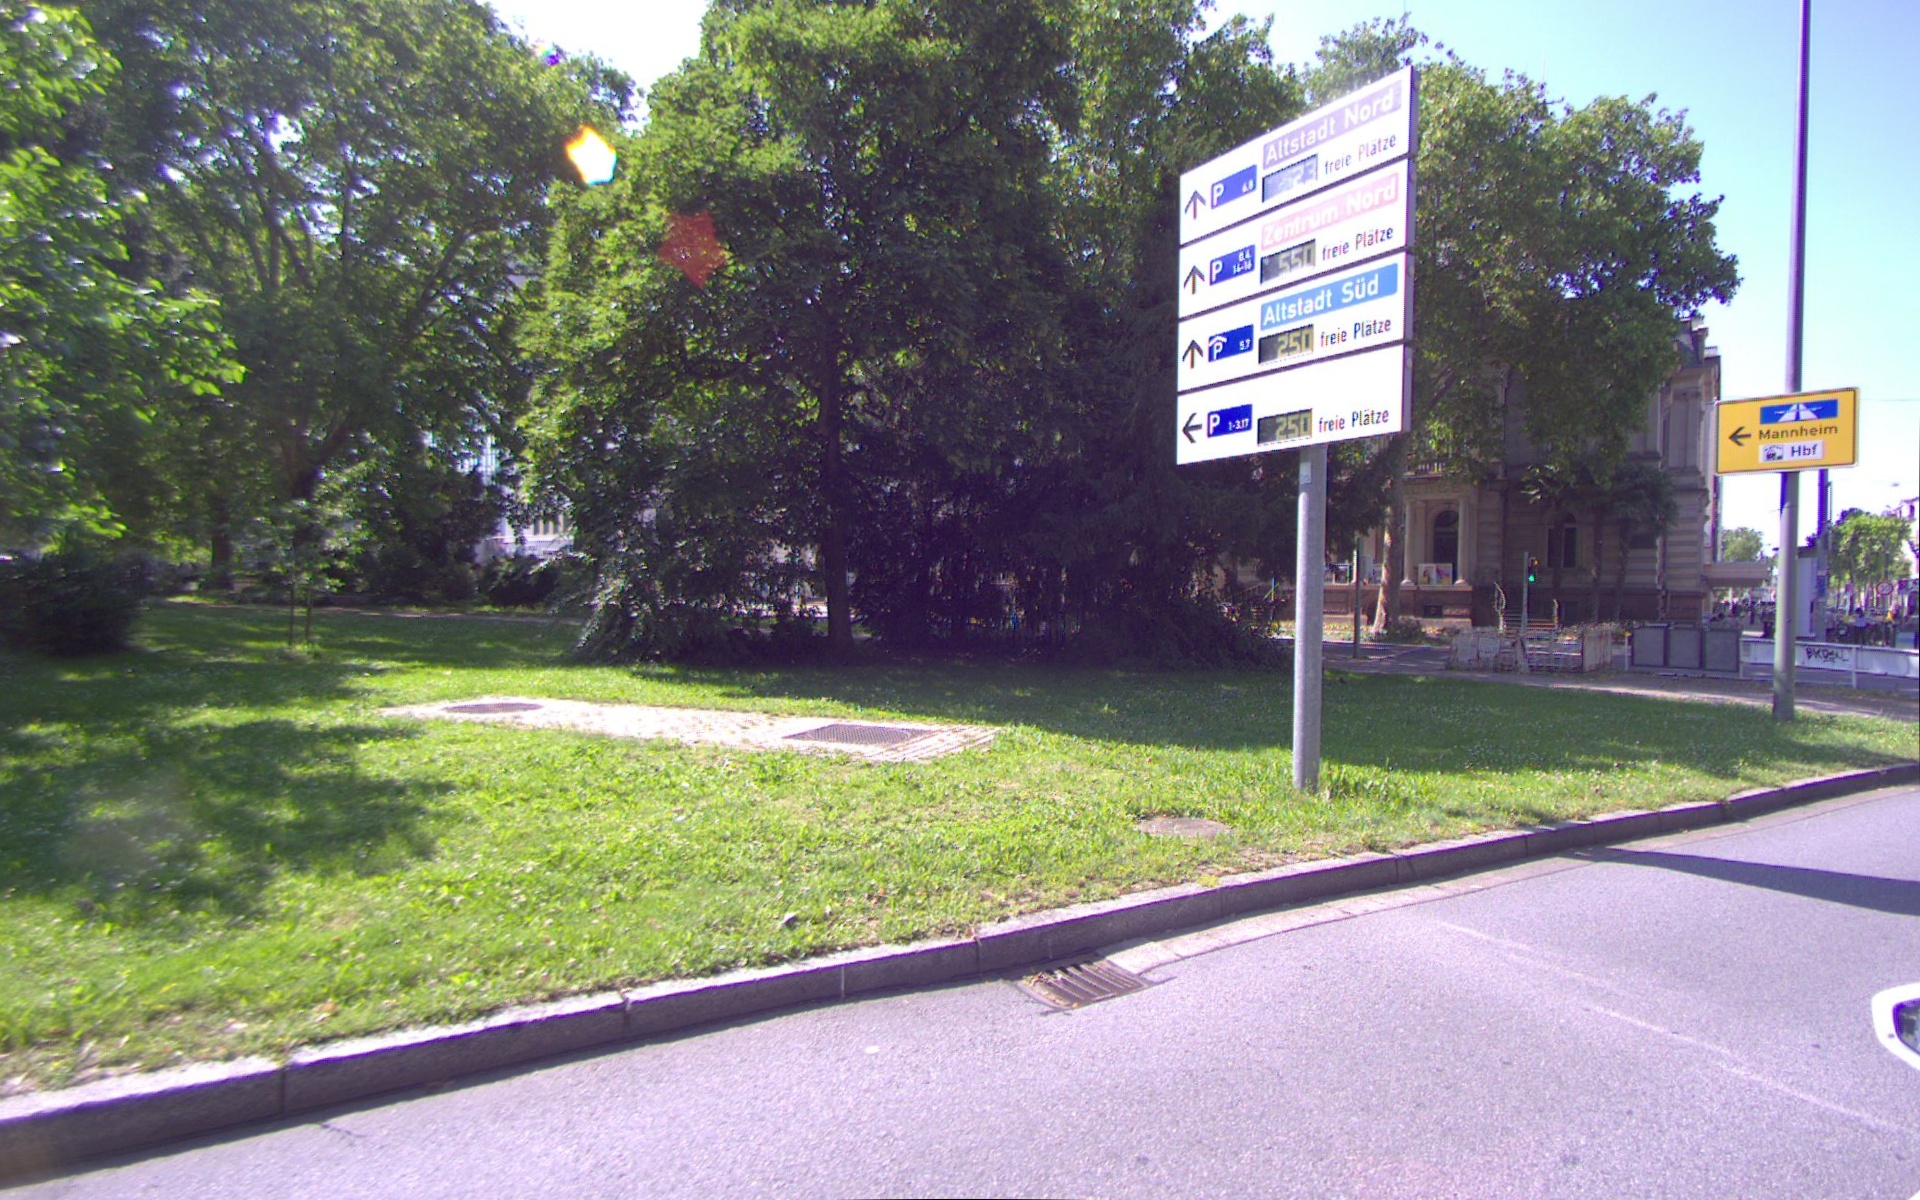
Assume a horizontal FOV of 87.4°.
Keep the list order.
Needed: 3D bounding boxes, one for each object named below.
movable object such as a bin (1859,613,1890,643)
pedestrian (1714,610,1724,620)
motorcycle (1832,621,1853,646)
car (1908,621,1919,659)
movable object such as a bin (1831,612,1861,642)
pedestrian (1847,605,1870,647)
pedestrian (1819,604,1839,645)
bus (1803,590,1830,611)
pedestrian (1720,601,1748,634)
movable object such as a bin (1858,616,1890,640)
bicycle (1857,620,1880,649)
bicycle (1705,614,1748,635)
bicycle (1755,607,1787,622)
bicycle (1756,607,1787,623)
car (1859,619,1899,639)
[{"bbox_3d":[48.175,1.448,52.905,1.111,1.470,1.430,4,3,43],"label":"movable object such as a bin"},{"bbox_3d":[66.640,1.317,88.194,0.558,0.820,0.771,7,5,37],"label":"pedestrian"},{"bbox_3d":[37.330,1.408,42.478,2.145,1.011,0.449,2,1,-43],"label":"motorcycle"},{"bbox_3d":[38.959,1.588,39.635,1.913,1.372,4.231,0,0,39],"label":"car"},{"bbox_3d":[47.370,1.442,53.680,1.111,1.470,1.430,4,3,43],"label":"movable object such as a bin"},{"bbox_3d":[37.352,1.074,41.766,0.686,1.717,0.687,1,-1,40],"label":"pedestrian"},{"bbox_3d":[37.004,1.046,42.765,0.930,1.687,0.543,2,-1,-44],"label":"pedestrian"},{"bbox_3d":[153.189,0.130,179.739,2.733,3.653,8.945,1,1,34],"label":"bus"},{"bbox_3d":[42.926,0.980,55.727,0.985,1.797,0.783,1,0,-14],"label":"pedestrian"},{"bbox_3d":[52.667,1.590,57.884,1.261,1.317,0.850,1,1,38],"label":"movable object such as a bin"},{"bbox_3d":[37.773,1.433,41.747,2.226,1.135,0.425,3,1,-42],"label":"bicycle"},{"bbox_3d":[42.489,1.331,55.711,0.482,1.076,2.022,1,0,-12],"label":"bicycle"},{"bbox_3d":[73.500,1.333,91.018,2.031,1.236,0.760,4,2,22],"label":"bicycle"},{"bbox_3d":[72.600,1.352,89.889,2.035,1.306,0.367,4,2,31],"label":"bicycle"},{"bbox_3d":[70.277,2.241,76.825,1.839,1.460,3.986,1,-1,37],"label":"car"}]
